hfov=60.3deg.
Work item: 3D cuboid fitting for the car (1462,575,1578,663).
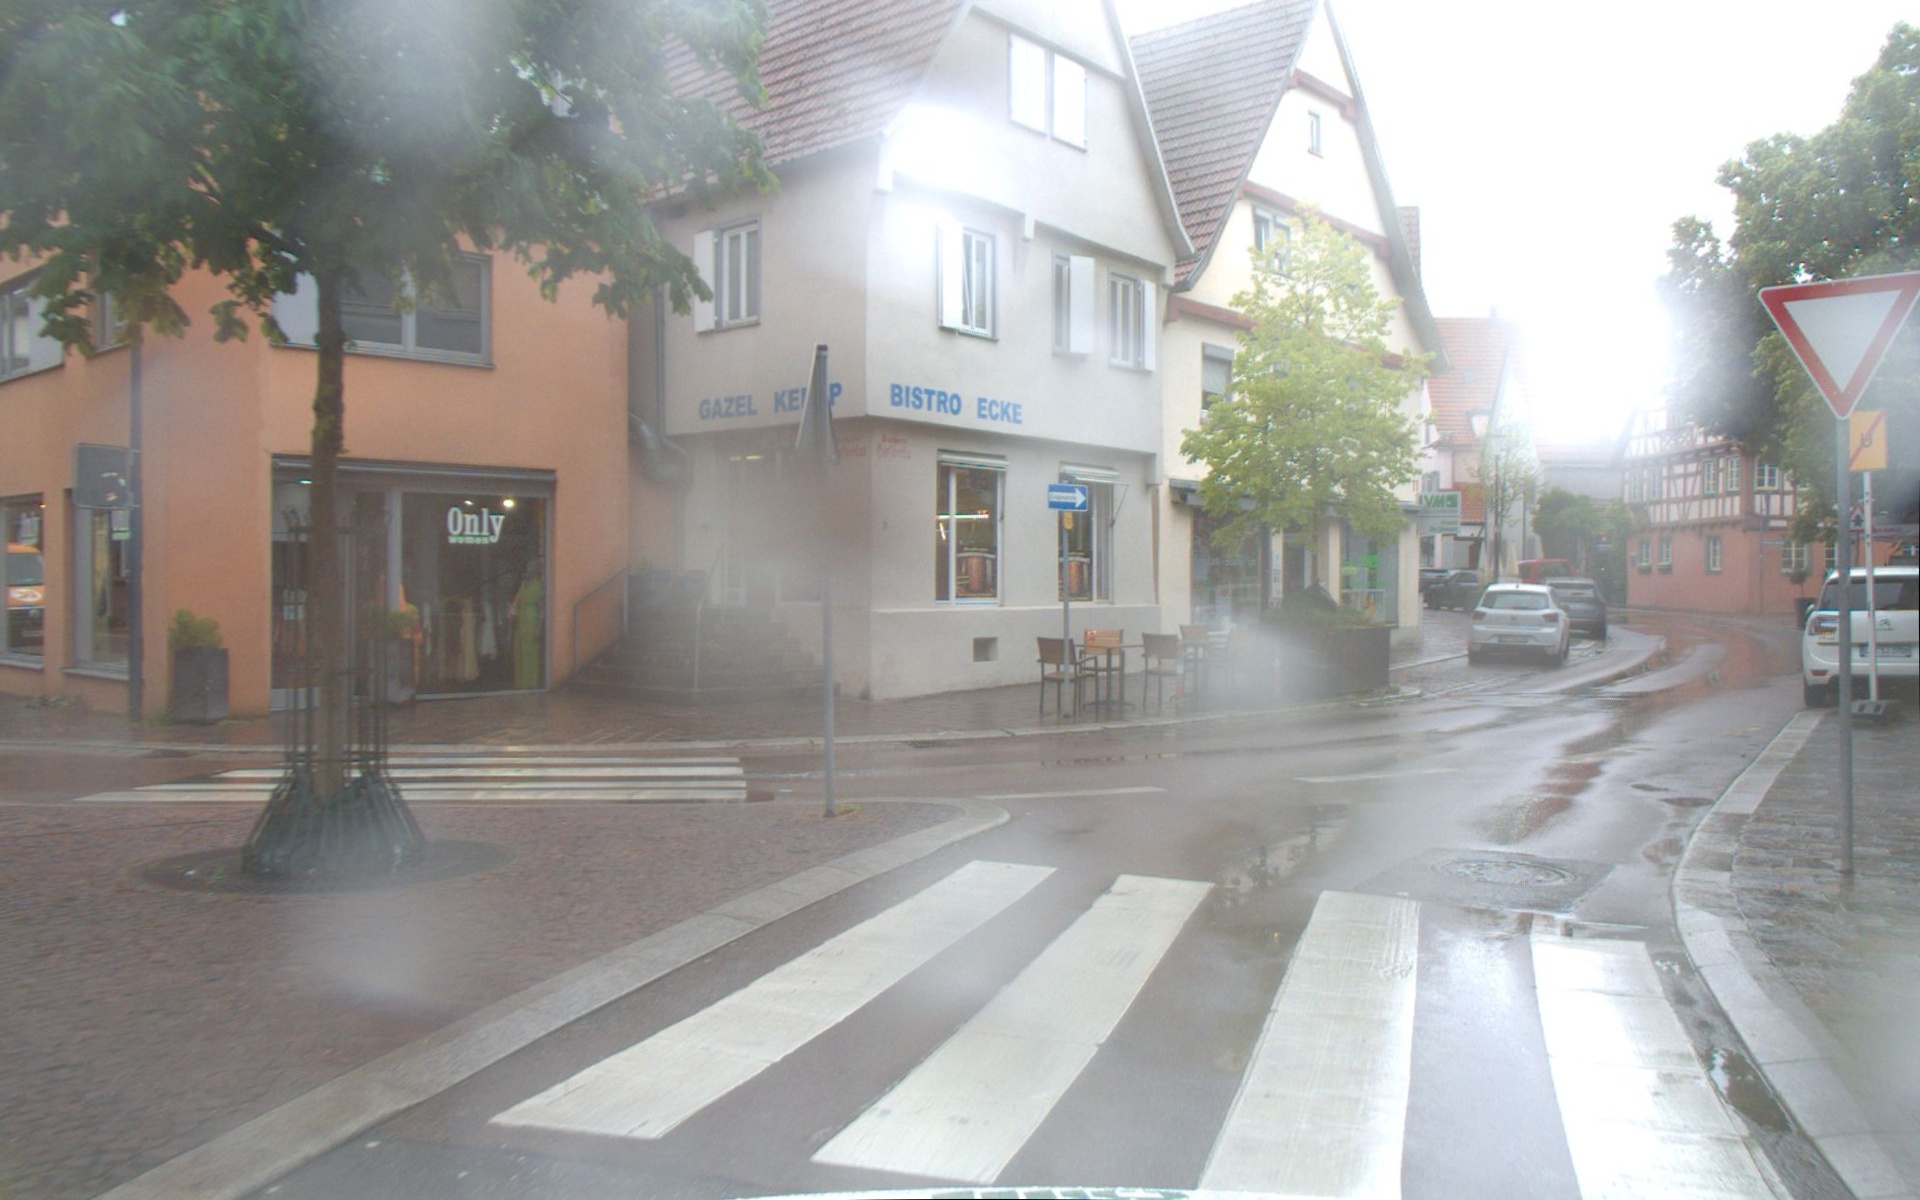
[{"bbox_3d":[10.830,0.304,31.815,1.812,1.477,4.072,1,2,23],"label":"car"}]

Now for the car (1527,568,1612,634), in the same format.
[{"bbox_3d":[15.429,0.034,42.050,1.836,1.567,4.402,1,0,18],"label":"car"}]

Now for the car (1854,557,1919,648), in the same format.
[{"bbox_3d":[17.615,0.018,30.490,1.755,1.582,3.940,-1,1,32],"label":"car"}]

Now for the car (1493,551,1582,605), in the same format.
[{"bbox_3d":[21.515,-0.856,61.787,1.855,1.843,4.001,2,2,0],"label":"car"}]

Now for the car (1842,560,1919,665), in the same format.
[{"bbox_3d":[14.602,0.205,25.313,1.755,1.494,3.940,1,0,31],"label":"car"}]

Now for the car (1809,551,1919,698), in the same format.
[{"bbox_3d":[11.753,0.306,20.832,1.754,1.668,4.432,1,0,29],"label":"car"}]
